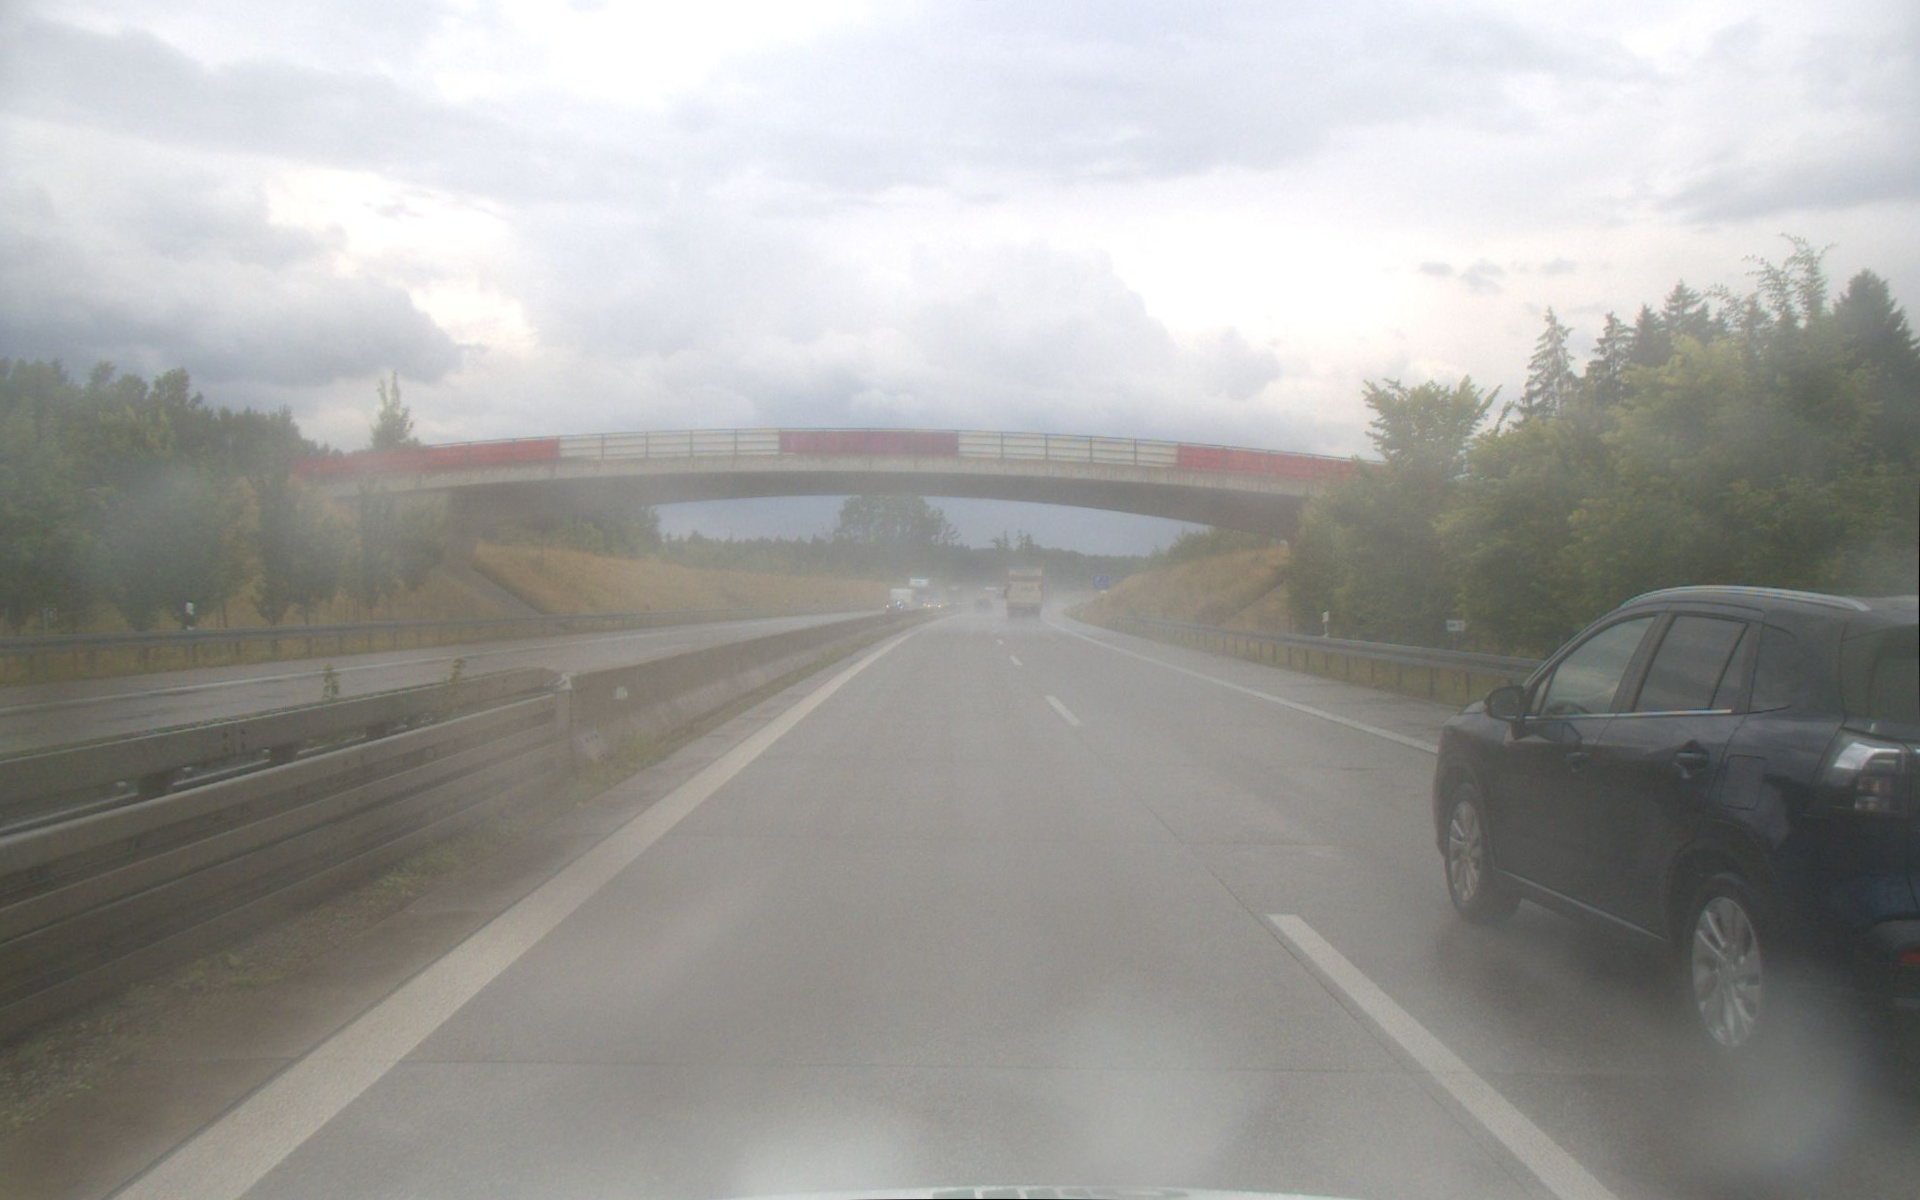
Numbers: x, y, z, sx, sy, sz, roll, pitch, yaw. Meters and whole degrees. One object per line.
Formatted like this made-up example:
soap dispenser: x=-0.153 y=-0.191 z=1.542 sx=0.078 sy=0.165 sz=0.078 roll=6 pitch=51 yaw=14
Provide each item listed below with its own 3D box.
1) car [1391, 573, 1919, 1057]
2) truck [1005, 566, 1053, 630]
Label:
car: x=3.331 y=0.721 z=7.350 sx=1.855 sy=1.603 sz=3.631 roll=1 pitch=0 yaw=0
truck: x=5.147 y=-0.226 z=121.285 sx=3.175 sy=4.514 sz=8.251 roll=0 pitch=1 yaw=5
